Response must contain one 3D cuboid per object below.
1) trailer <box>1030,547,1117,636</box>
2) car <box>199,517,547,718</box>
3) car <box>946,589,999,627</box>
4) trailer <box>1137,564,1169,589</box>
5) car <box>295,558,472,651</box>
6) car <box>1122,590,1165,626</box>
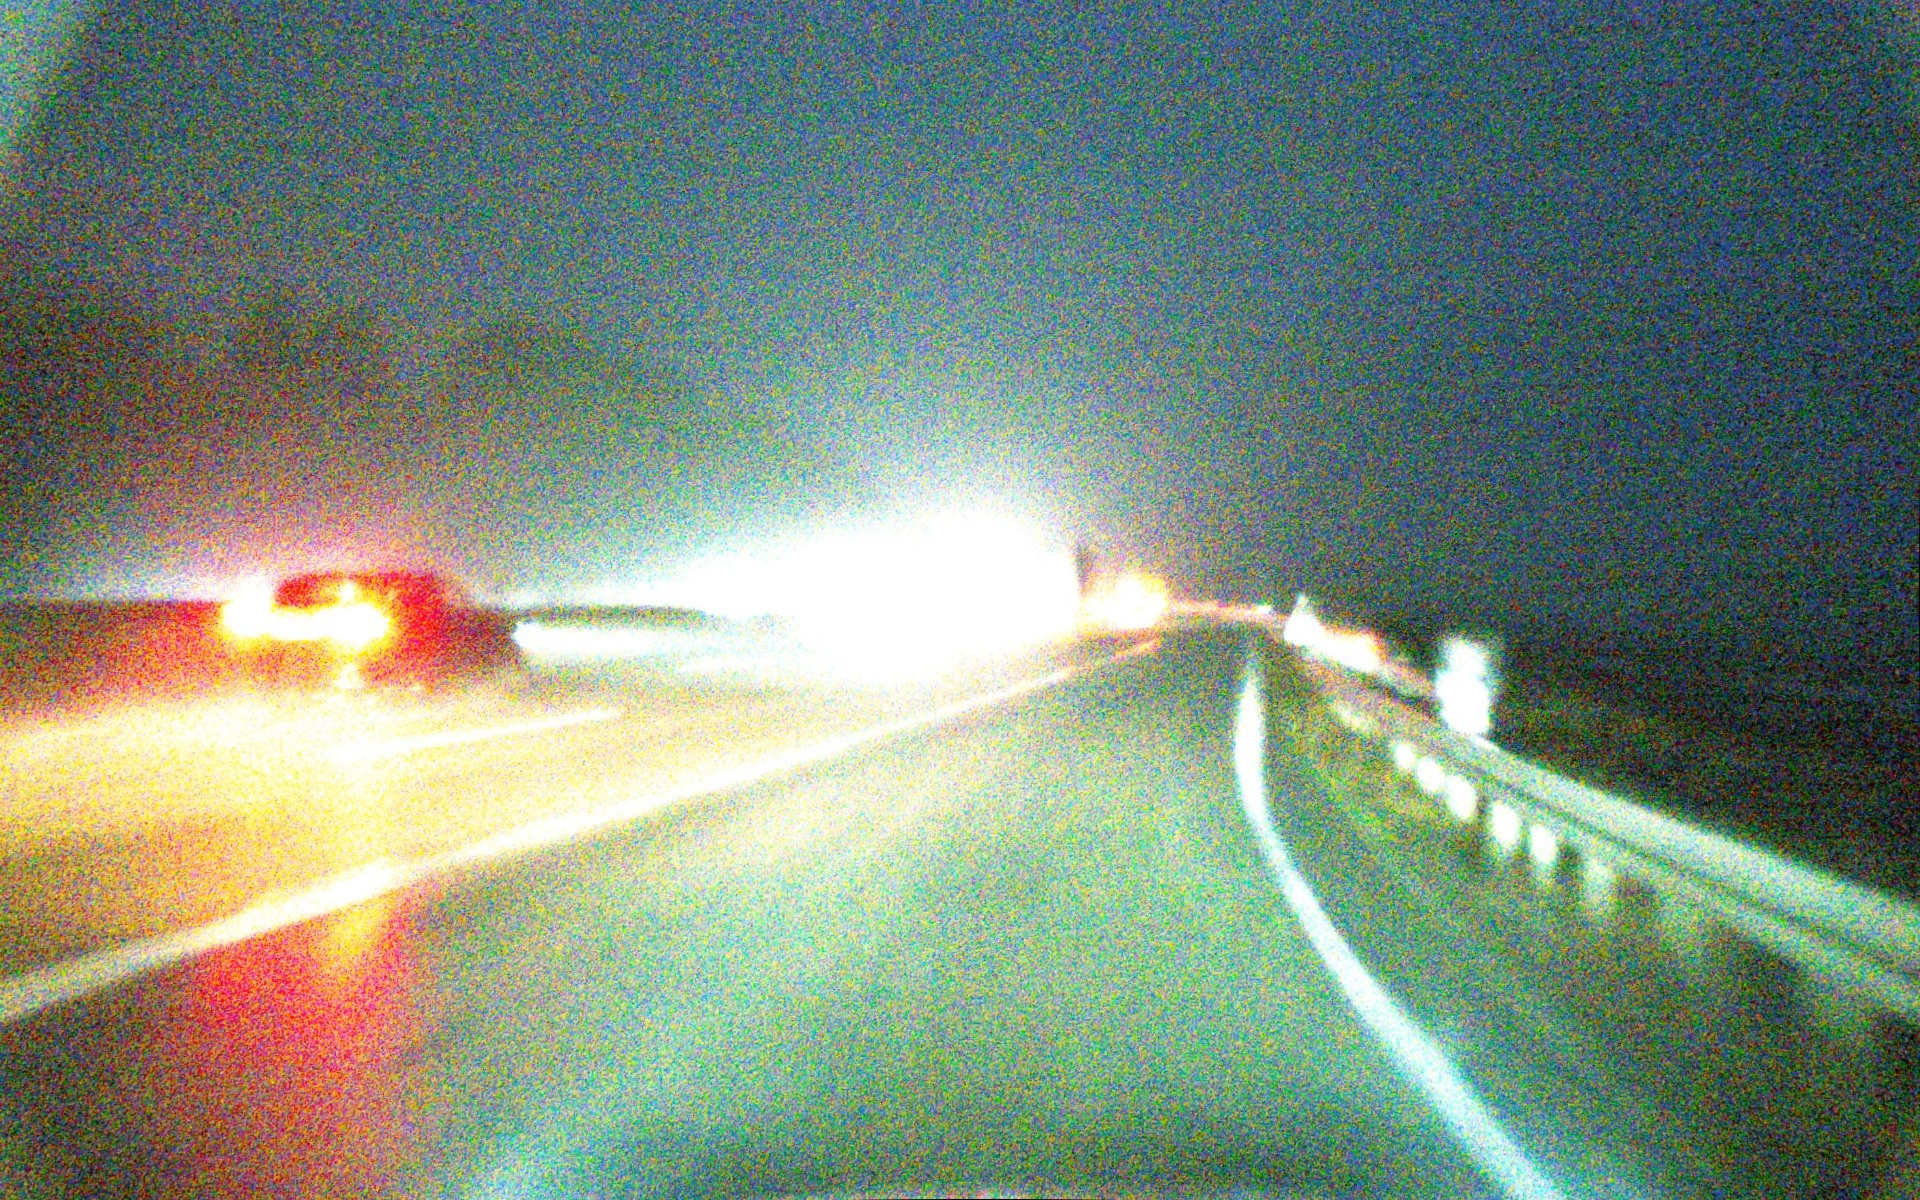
[{"bbox_3d":[5.699,-0.354,80.740,2.537,3.789,13.664,4,0,10],"label":"trailer"},{"bbox_3d":[-6.960,0.181,20.229,1.951,2.048,4.572,4,0,9],"label":"car"},{"bbox_3d":[0.636,0.371,79.933,1.951,1.646,4.003,4,0,7],"label":"car"},{"bbox_3d":[23.656,-2.811,201.758,2.630,2.746,12.868,4,1,12],"label":"trailer"},{"bbox_3d":[-14.236,0.109,41.149,1.951,2.048,4.571,4,0,12],"label":"car"},{"bbox_3d":[10.324,0.430,93.016,1.951,1.850,4.003,4,0,11],"label":"car"}]
